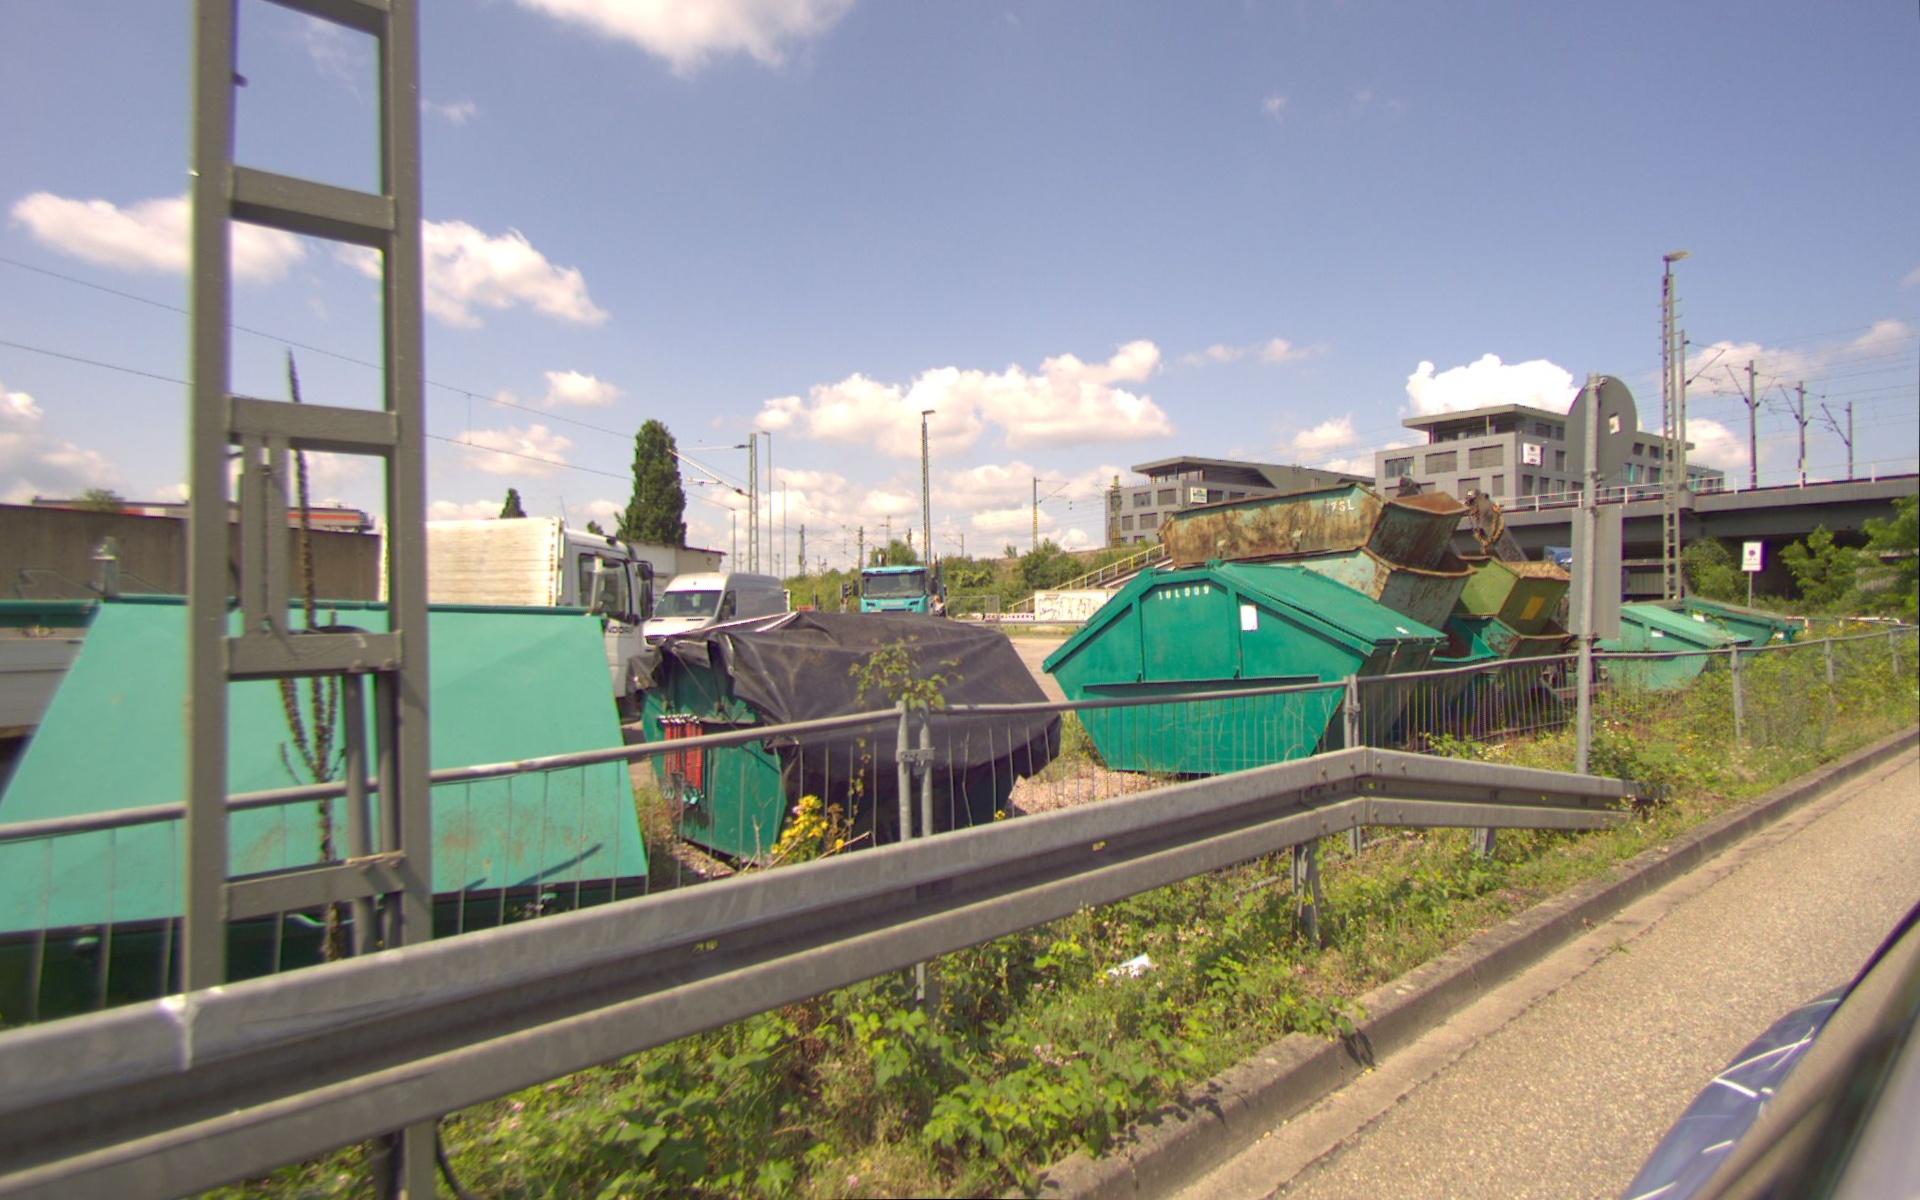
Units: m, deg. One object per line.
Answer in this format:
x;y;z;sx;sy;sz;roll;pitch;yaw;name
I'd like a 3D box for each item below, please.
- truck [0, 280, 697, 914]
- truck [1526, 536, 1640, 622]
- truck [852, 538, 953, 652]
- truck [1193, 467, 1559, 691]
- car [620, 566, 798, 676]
-5.788;-0.044;8.258;2.959;3.462;8.058;0;0;21;truck
26.431;-0.870;43.332;2.728;3.315;8.141;0;0;22;truck
-1.942;-0.181;37.211;2.609;3.691;6.879;-2;0;5;truck
6.679;-0.312;17.002;1.962;3.137;5.514;0;0;-35;truck
-6.449;0.485;26.920;2.036;2.558;5.856;-2;0;14;car
